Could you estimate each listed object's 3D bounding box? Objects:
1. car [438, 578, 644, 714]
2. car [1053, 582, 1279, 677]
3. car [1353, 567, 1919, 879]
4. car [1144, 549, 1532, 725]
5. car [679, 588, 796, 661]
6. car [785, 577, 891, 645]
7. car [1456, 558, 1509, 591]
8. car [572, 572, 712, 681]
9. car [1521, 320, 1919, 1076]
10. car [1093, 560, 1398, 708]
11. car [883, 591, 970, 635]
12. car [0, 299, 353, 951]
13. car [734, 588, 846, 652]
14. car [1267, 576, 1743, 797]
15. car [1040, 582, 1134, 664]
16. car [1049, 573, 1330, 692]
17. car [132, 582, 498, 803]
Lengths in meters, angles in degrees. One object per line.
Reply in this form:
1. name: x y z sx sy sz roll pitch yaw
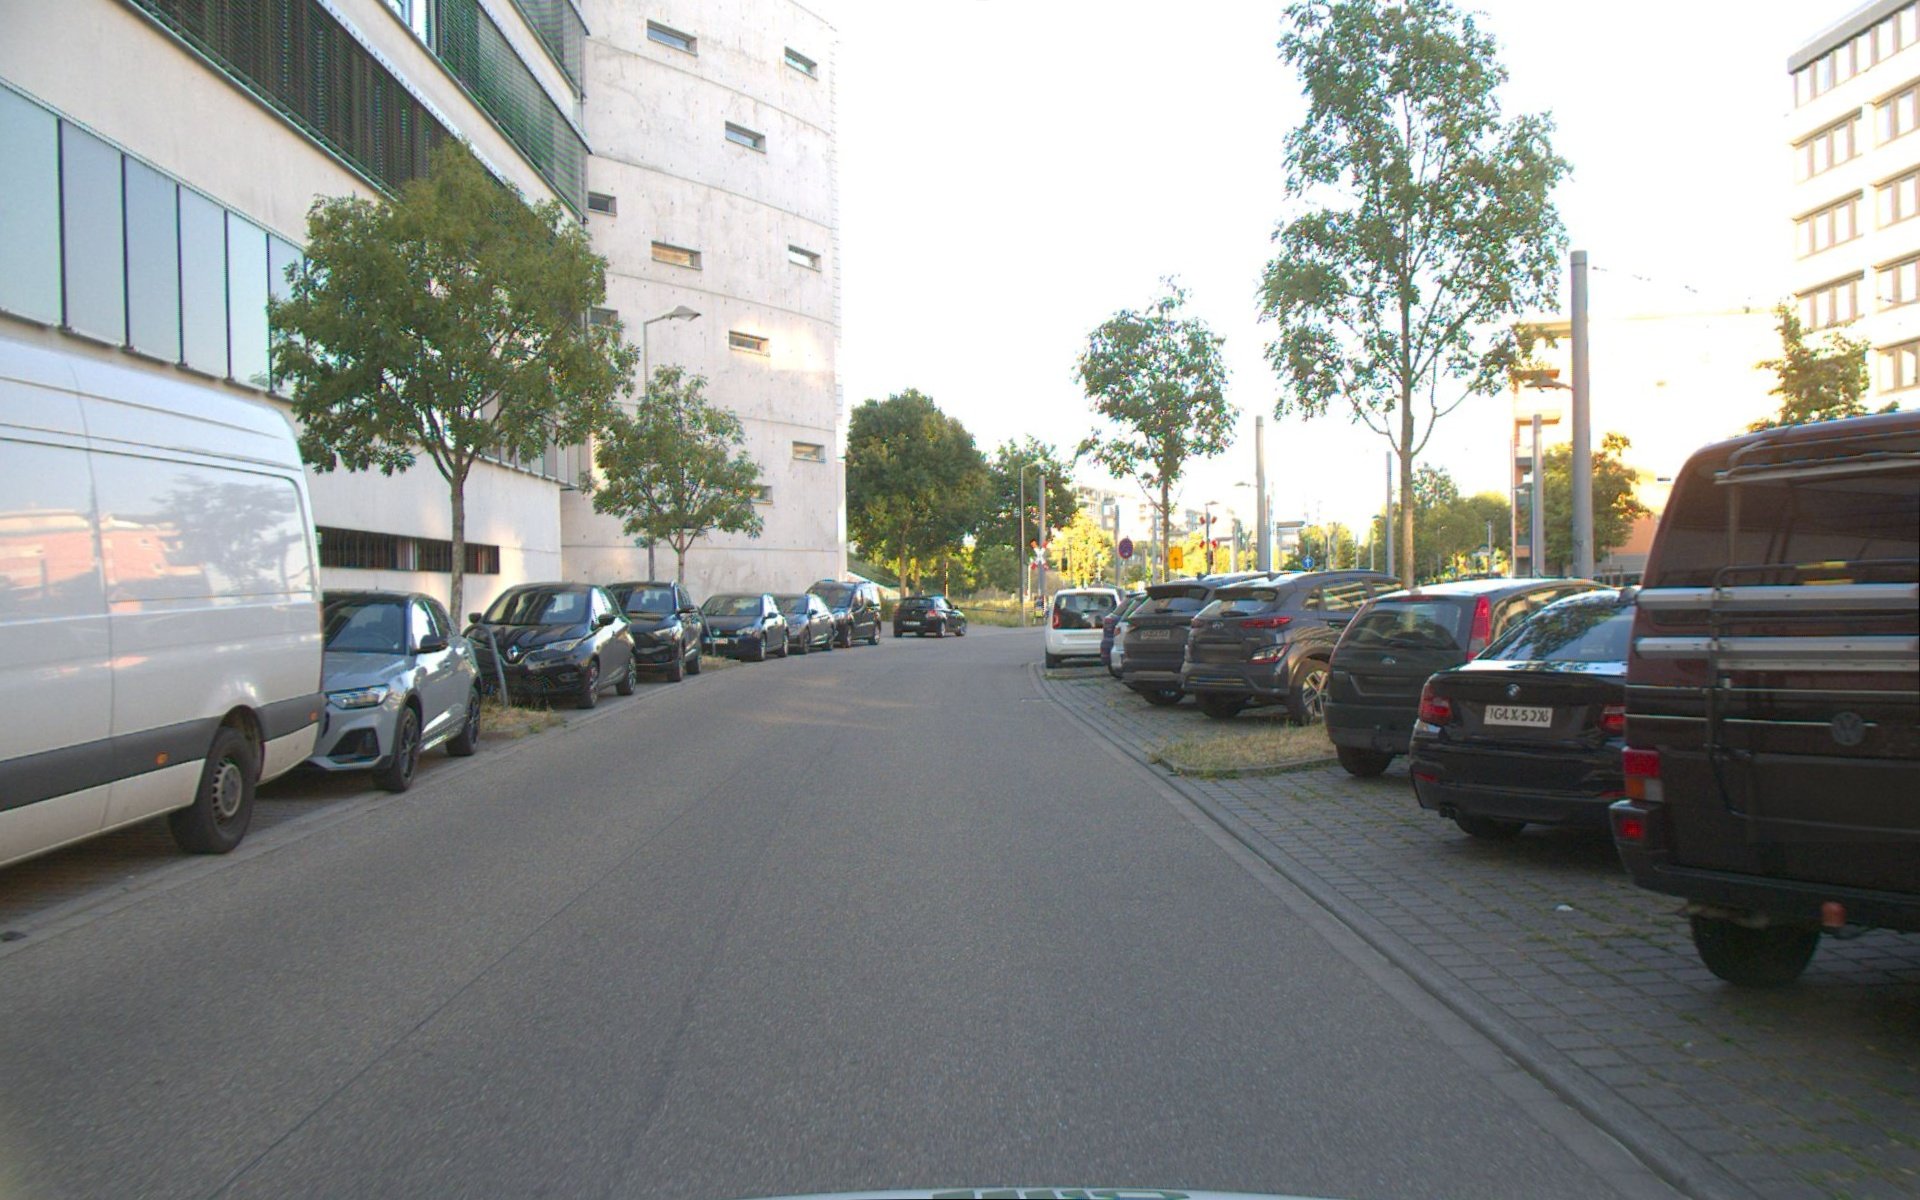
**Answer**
1. car: -5.373 0.521 21.724 1.720 1.588 4.042 1 1 -1
2. car: 3.584 0.472 28.575 3.708 1.535 1.668 0 1 -34
3. car: 4.153 0.577 9.708 3.739 1.491 1.617 0 1 -38
4. car: 4.265 0.364 18.600 3.931 1.668 1.954 -3 0 -30
5. car: -4.900 0.505 36.929 1.686 1.483 4.274 1 1 5
6. car: -3.429 0.275 47.366 1.720 1.830 4.467 1 1 14
7. car: 43.203 -2.128 136.720 4.067 2.629 1.703 -1 0 20
8. car: -5.306 0.387 28.035 1.720 1.682 3.947 1 1 -2
9. car: 4.272 0.261 6.154 4.551 2.071 1.848 0 1 -36
10. car: 3.712 0.387 21.334 3.734 1.756 1.742 0 1 -35
11. car: -1.117 0.432 57.787 1.903 1.407 4.403 1 1 15
12. car: -4.890 0.084 7.354 1.918 2.662 6.891 1 1 -1
13. car: -4.252 0.466 42.125 1.685 1.483 4.698 1 1 9
14. car: 4.311 0.568 12.893 3.739 1.467 1.740 0 1 -38
15. car: 2.565 0.413 32.803 1.686 1.493 3.555 -2 1 6
16. car: 3.521 0.453 25.239 3.882 1.535 1.936 -3 1 -32
17. car: -4.919 0.616 13.188 1.722 1.465 3.896 1 1 -6
